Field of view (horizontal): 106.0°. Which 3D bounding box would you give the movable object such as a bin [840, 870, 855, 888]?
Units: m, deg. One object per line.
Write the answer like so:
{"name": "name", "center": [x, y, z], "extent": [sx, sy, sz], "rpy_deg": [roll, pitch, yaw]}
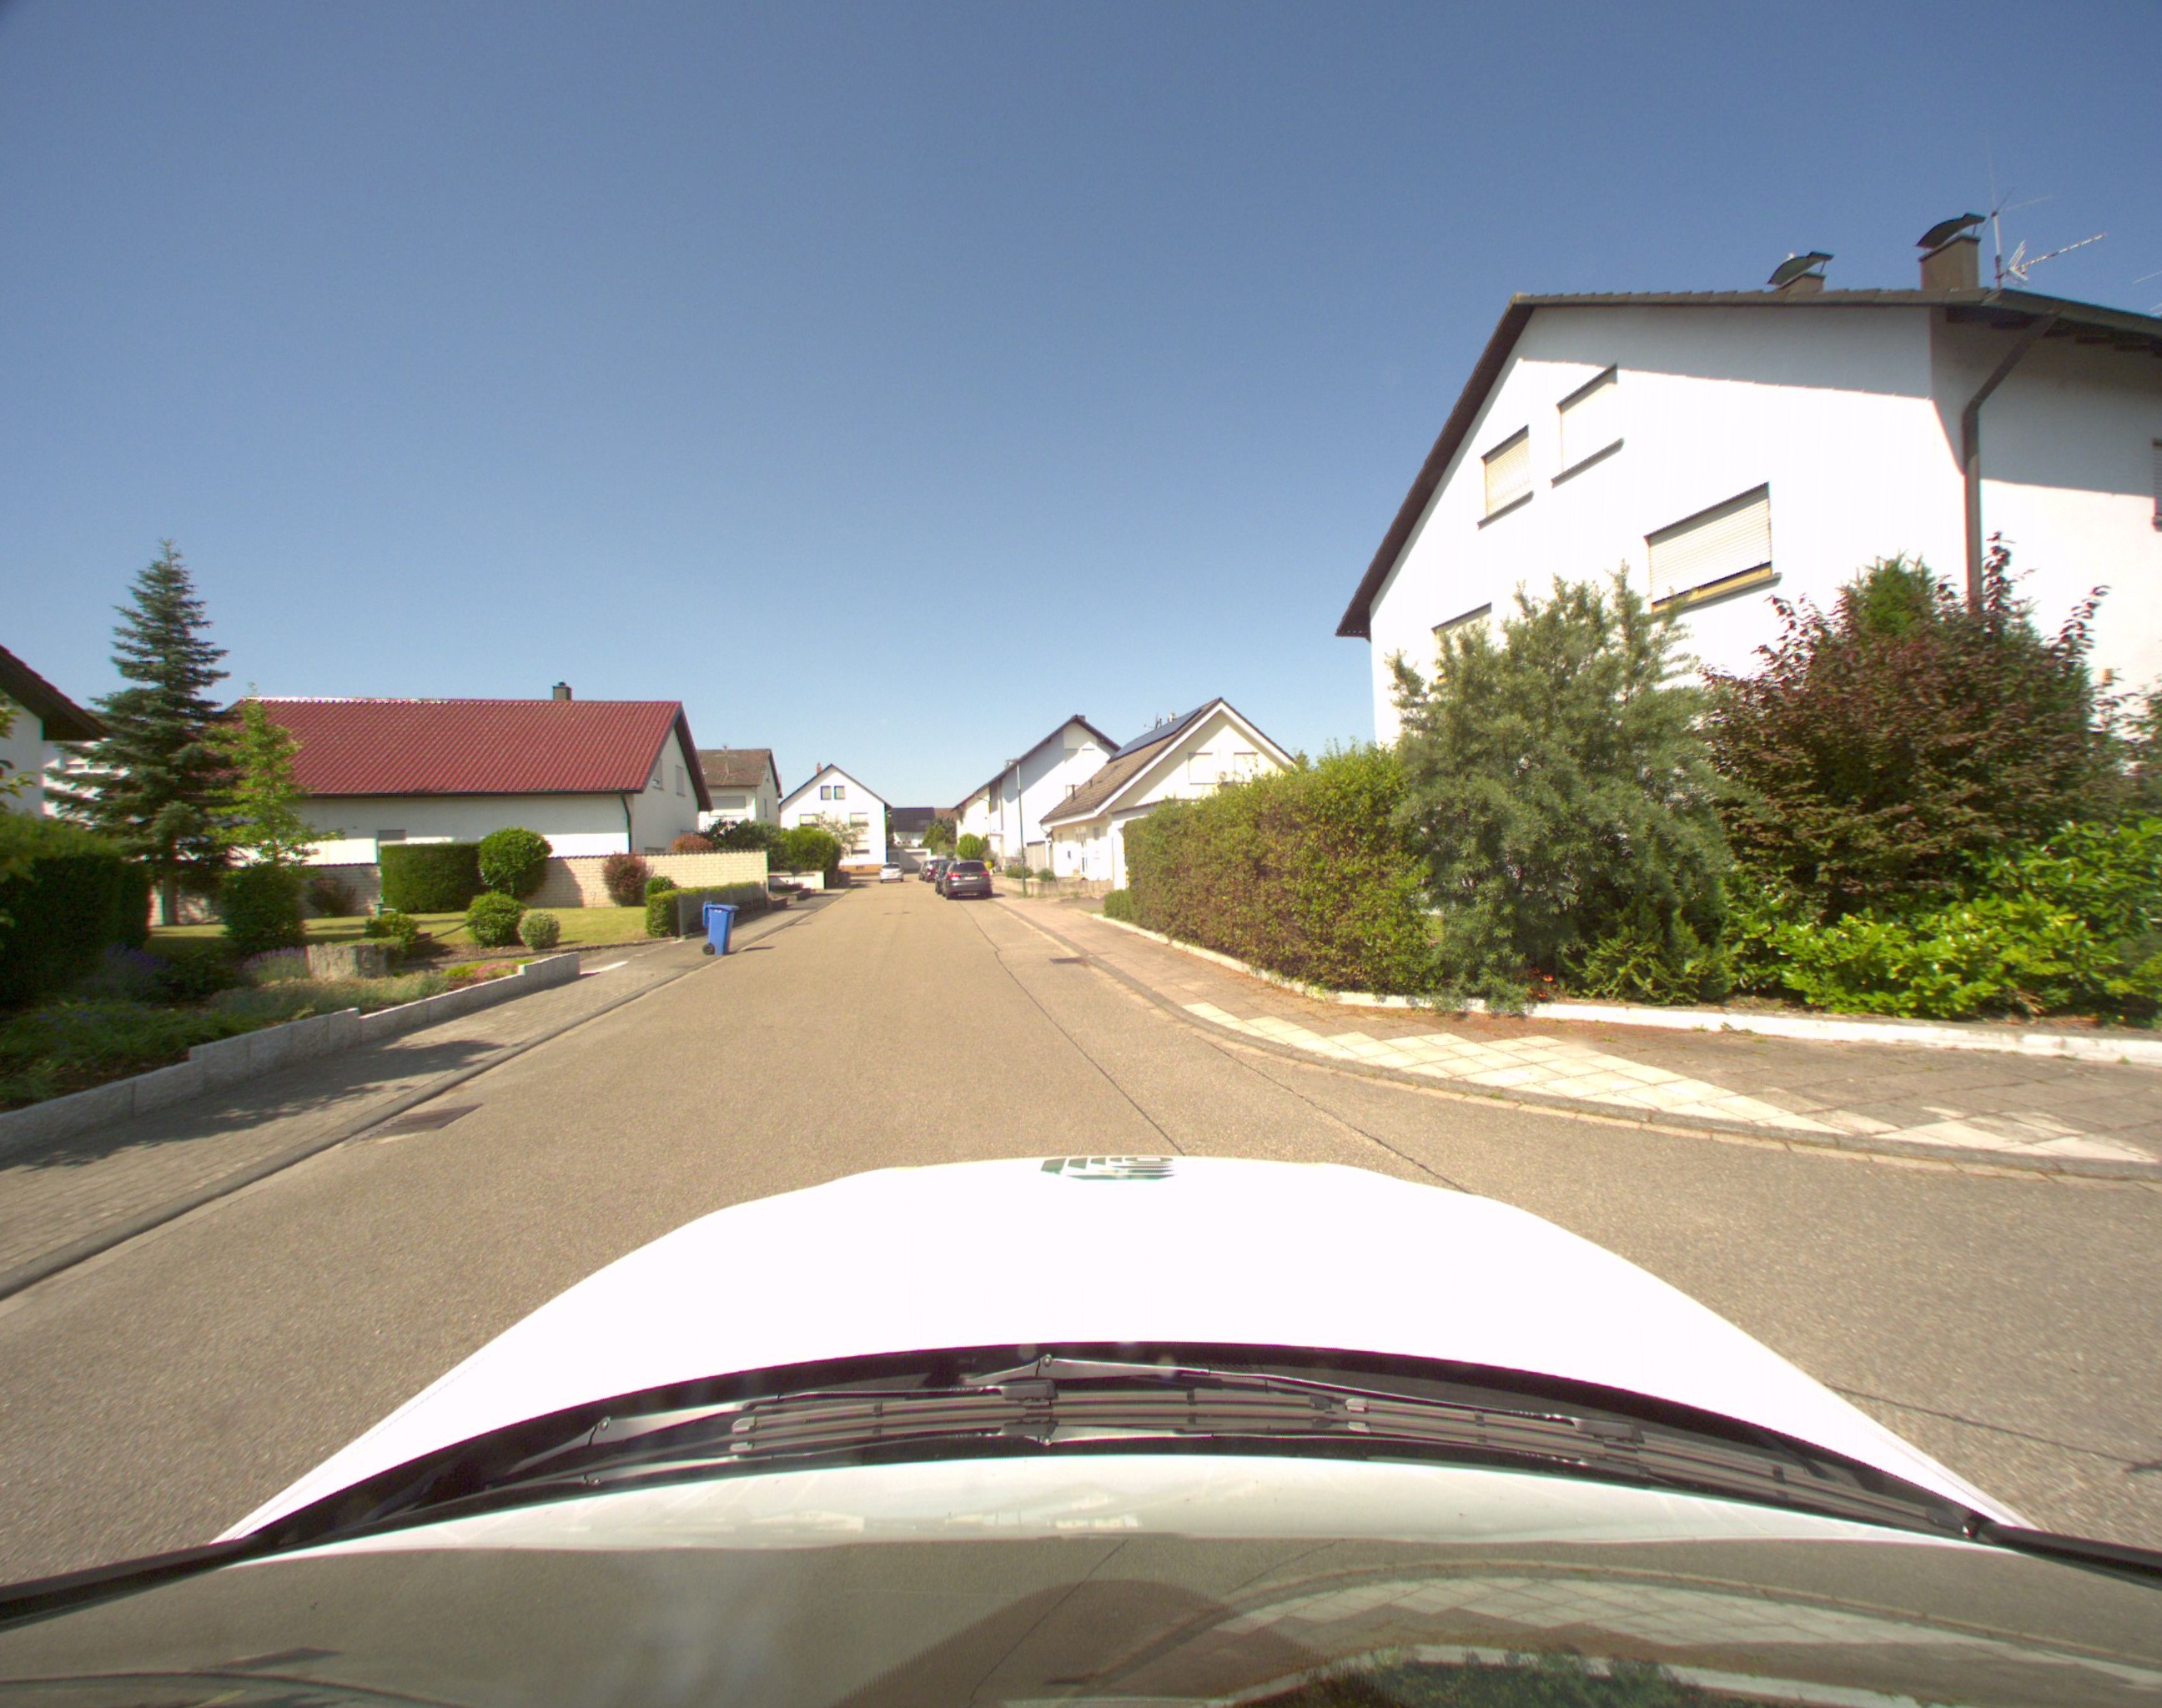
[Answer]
{"name": "movable object such as a bin", "center": [-14.231, 1.523, 49.596], "extent": [0.819, 1.063, 0.608], "rpy_deg": [-2, 0, -14]}

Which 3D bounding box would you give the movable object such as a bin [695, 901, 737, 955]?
{"name": "movable object such as a bin", "center": [-6.644, 1.337, 14.844], "extent": [0.583, 0.916, 0.595], "rpy_deg": [-1, 0, -12]}

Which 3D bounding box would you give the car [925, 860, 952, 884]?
{"name": "car", "center": [-10.245, 1.236, 58.430], "extent": [1.647, 1.581, 4.129], "rpy_deg": [-2, 0, -13]}

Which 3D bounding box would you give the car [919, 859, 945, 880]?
{"name": "car", "center": [-11.588, 1.179, 63.044], "extent": [1.648, 1.546, 4.027], "rpy_deg": [-2, 0, -15]}

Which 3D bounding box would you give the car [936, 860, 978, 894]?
{"name": "car", "center": [-5.889, 1.042, 38.344], "extent": [1.718, 1.438, 4.485], "rpy_deg": [-2, 0, -11]}

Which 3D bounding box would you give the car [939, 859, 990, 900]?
{"name": "car", "center": [-4.707, 0.971, 32.544], "extent": [1.644, 1.478, 3.981], "rpy_deg": [0, 0, -14]}

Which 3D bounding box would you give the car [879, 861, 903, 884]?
{"name": "car", "center": [-14.077, 1.317, 60.466], "extent": [1.647, 1.581, 3.792], "rpy_deg": [-2, 0, -13]}
